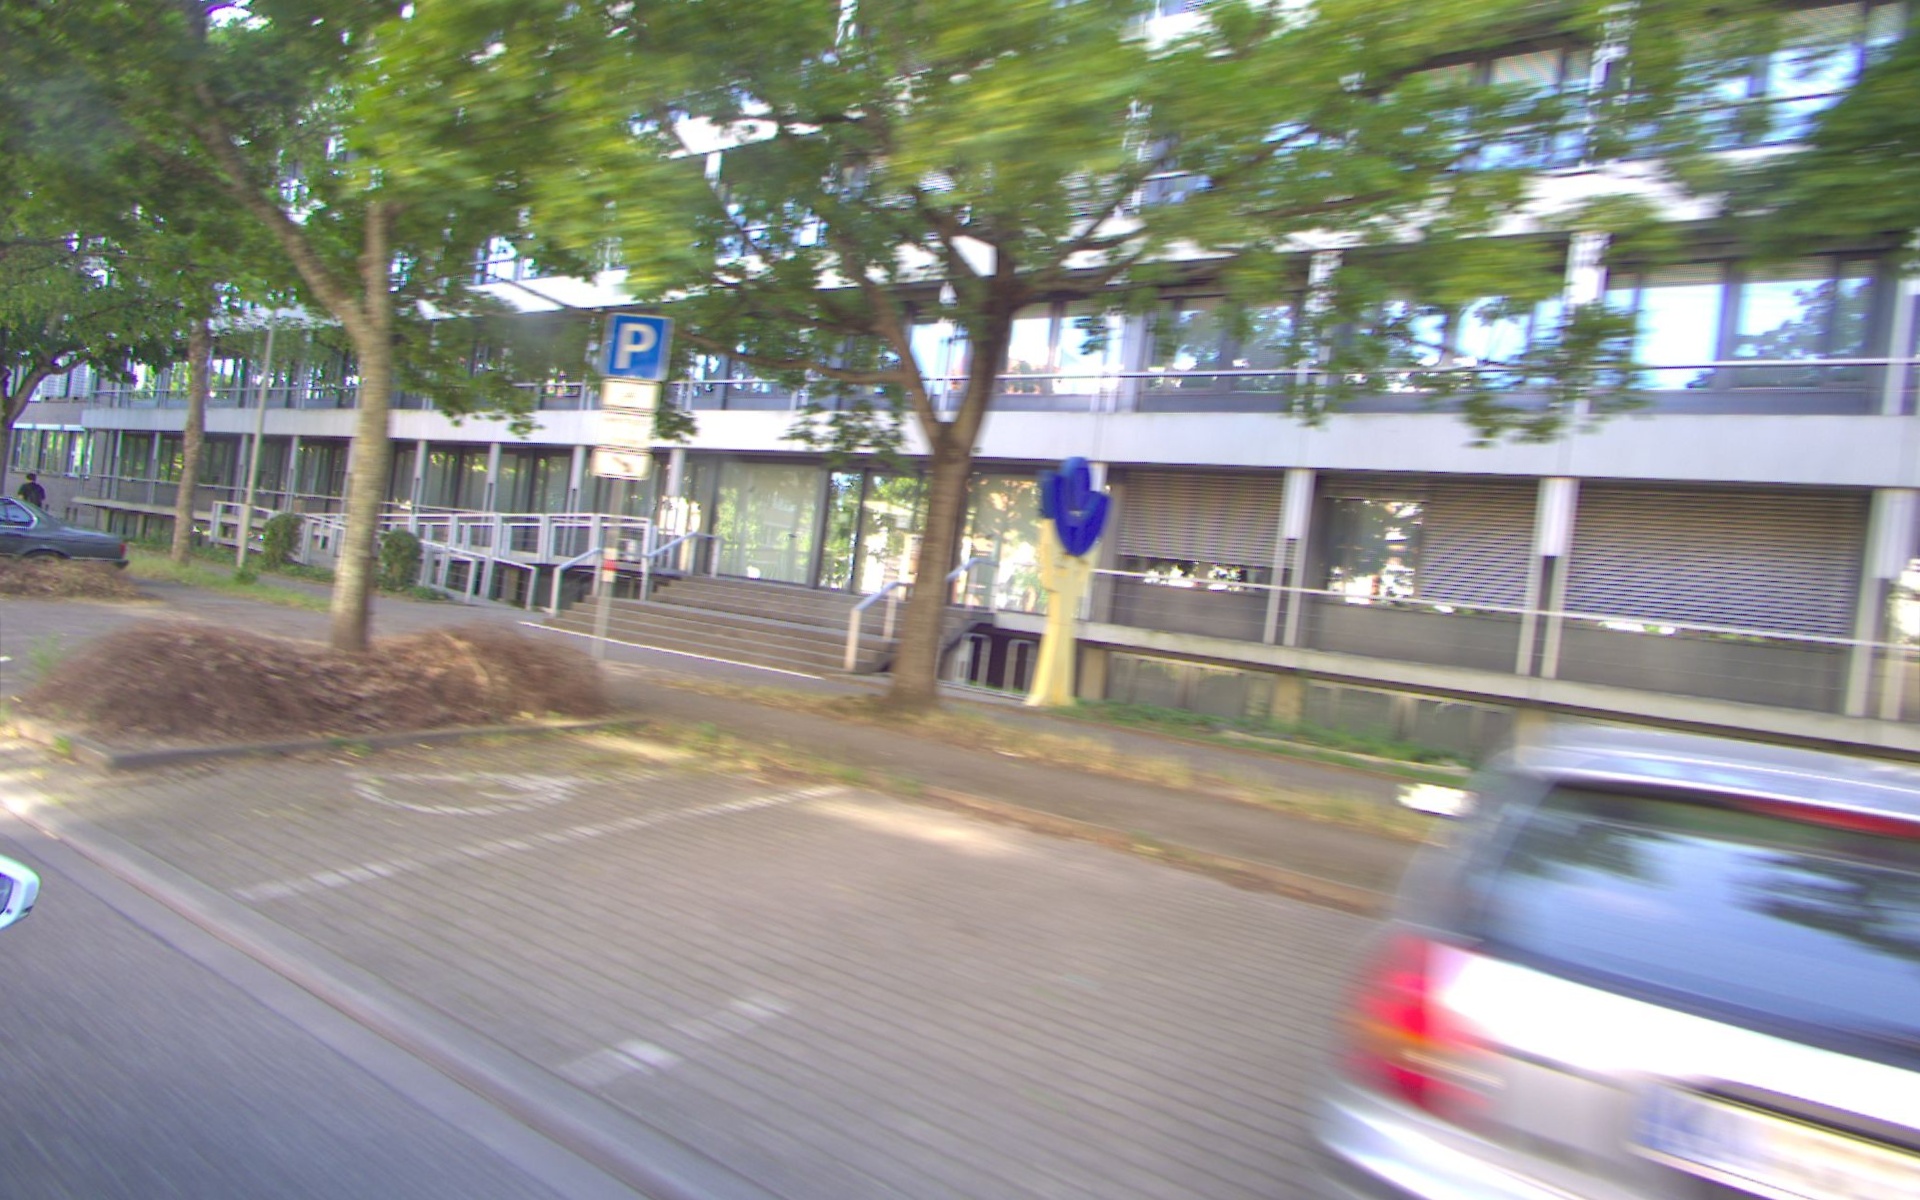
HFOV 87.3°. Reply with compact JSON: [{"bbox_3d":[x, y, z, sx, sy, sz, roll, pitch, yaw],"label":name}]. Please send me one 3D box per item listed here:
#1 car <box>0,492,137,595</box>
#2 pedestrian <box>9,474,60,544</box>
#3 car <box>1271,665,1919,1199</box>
[{"bbox_3d":[-15.611,-1.022,14.914,1.997,1.438,4.830,7,1,30],"label":"car"},{"bbox_3d":[-25.504,-2.504,27.713,1.171,1.767,0.608,7,1,32],"label":"pedestrian"},{"bbox_3d":[2.268,1.034,3.072,1.681,1.438,3.974,7,1,30],"label":"car"}]
